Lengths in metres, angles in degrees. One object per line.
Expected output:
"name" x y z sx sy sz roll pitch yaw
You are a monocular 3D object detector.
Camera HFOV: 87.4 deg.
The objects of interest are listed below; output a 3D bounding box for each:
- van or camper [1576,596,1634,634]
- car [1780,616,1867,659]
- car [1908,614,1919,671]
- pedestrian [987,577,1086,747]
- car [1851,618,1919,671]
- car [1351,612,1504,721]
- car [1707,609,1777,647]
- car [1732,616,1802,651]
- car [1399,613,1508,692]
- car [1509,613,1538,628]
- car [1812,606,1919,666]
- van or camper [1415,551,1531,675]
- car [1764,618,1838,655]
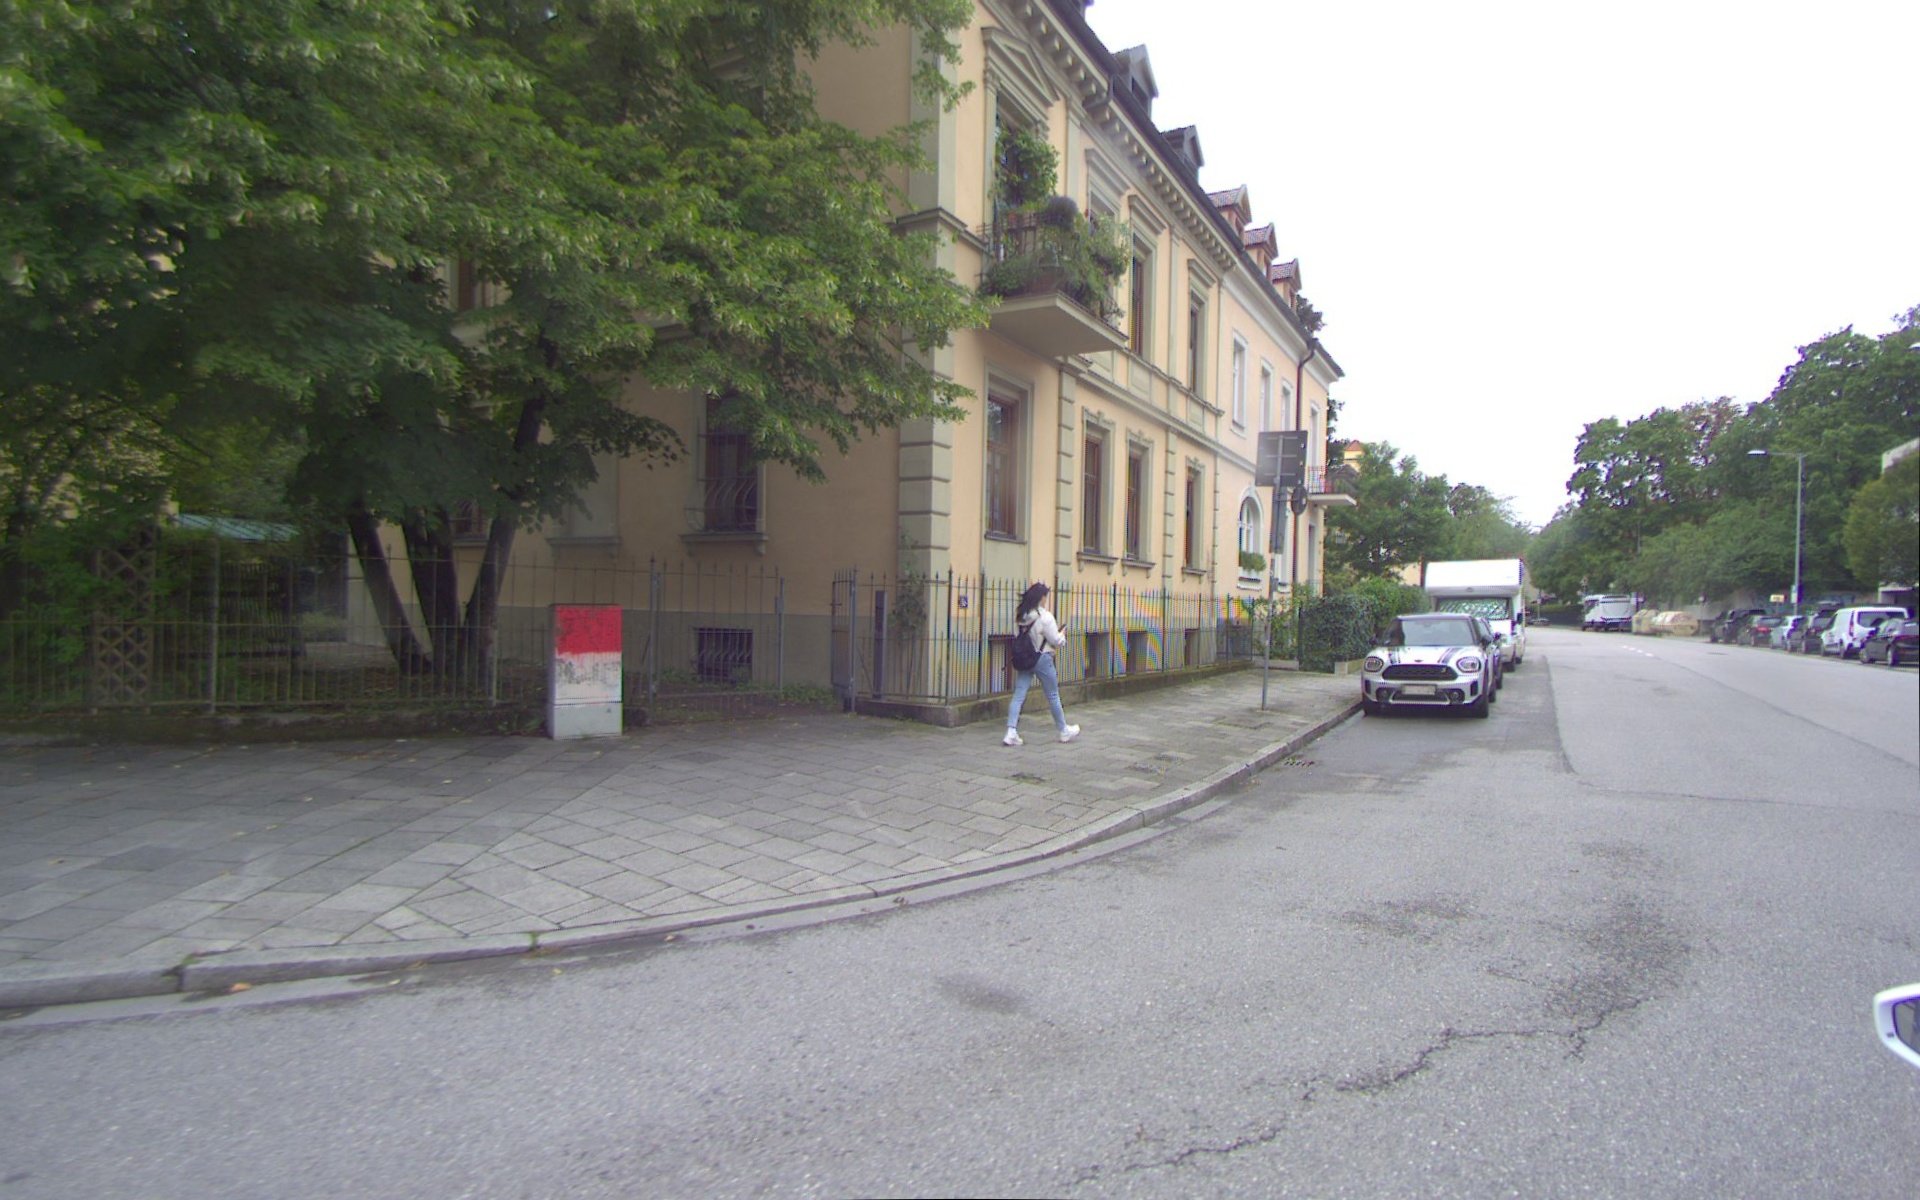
"van or camper" 53.468 1.224 83.453 2.234 2.945 7.278 1 0 18
"car" 34.525 1.450 40.276 1.722 1.500 4.589 2 1 29
"car" 26.464 1.149 26.063 1.701 1.549 4.197 -1 -1 29
"pedestrian" 0.786 0.609 10.277 0.644 1.625 0.737 5 2 34
"car" 29.018 1.320 30.743 1.722 1.483 4.235 1 0 29
"car" 7.973 1.000 16.892 1.908 1.555 4.521 -1 -1 30
"car" 42.005 1.495 54.060 1.957 1.896 5.072 2 0 27
"car" 39.529 1.581 49.300 1.721 1.560 4.564 1 0 27
"car" 10.885 1.059 21.978 1.907 1.528 4.814 -1 -1 28
"car" 61.004 2.199 108.716 1.709 1.556 2.948 0 -1 7
"car" 32.083 1.214 35.747 1.796 1.885 4.887 3 1 31
"van or camper" 14.406 0.370 27.925 2.420 2.980 7.196 -1 -1 31
"car" 36.930 1.569 44.205 1.722 1.500 3.882 1 0 29
